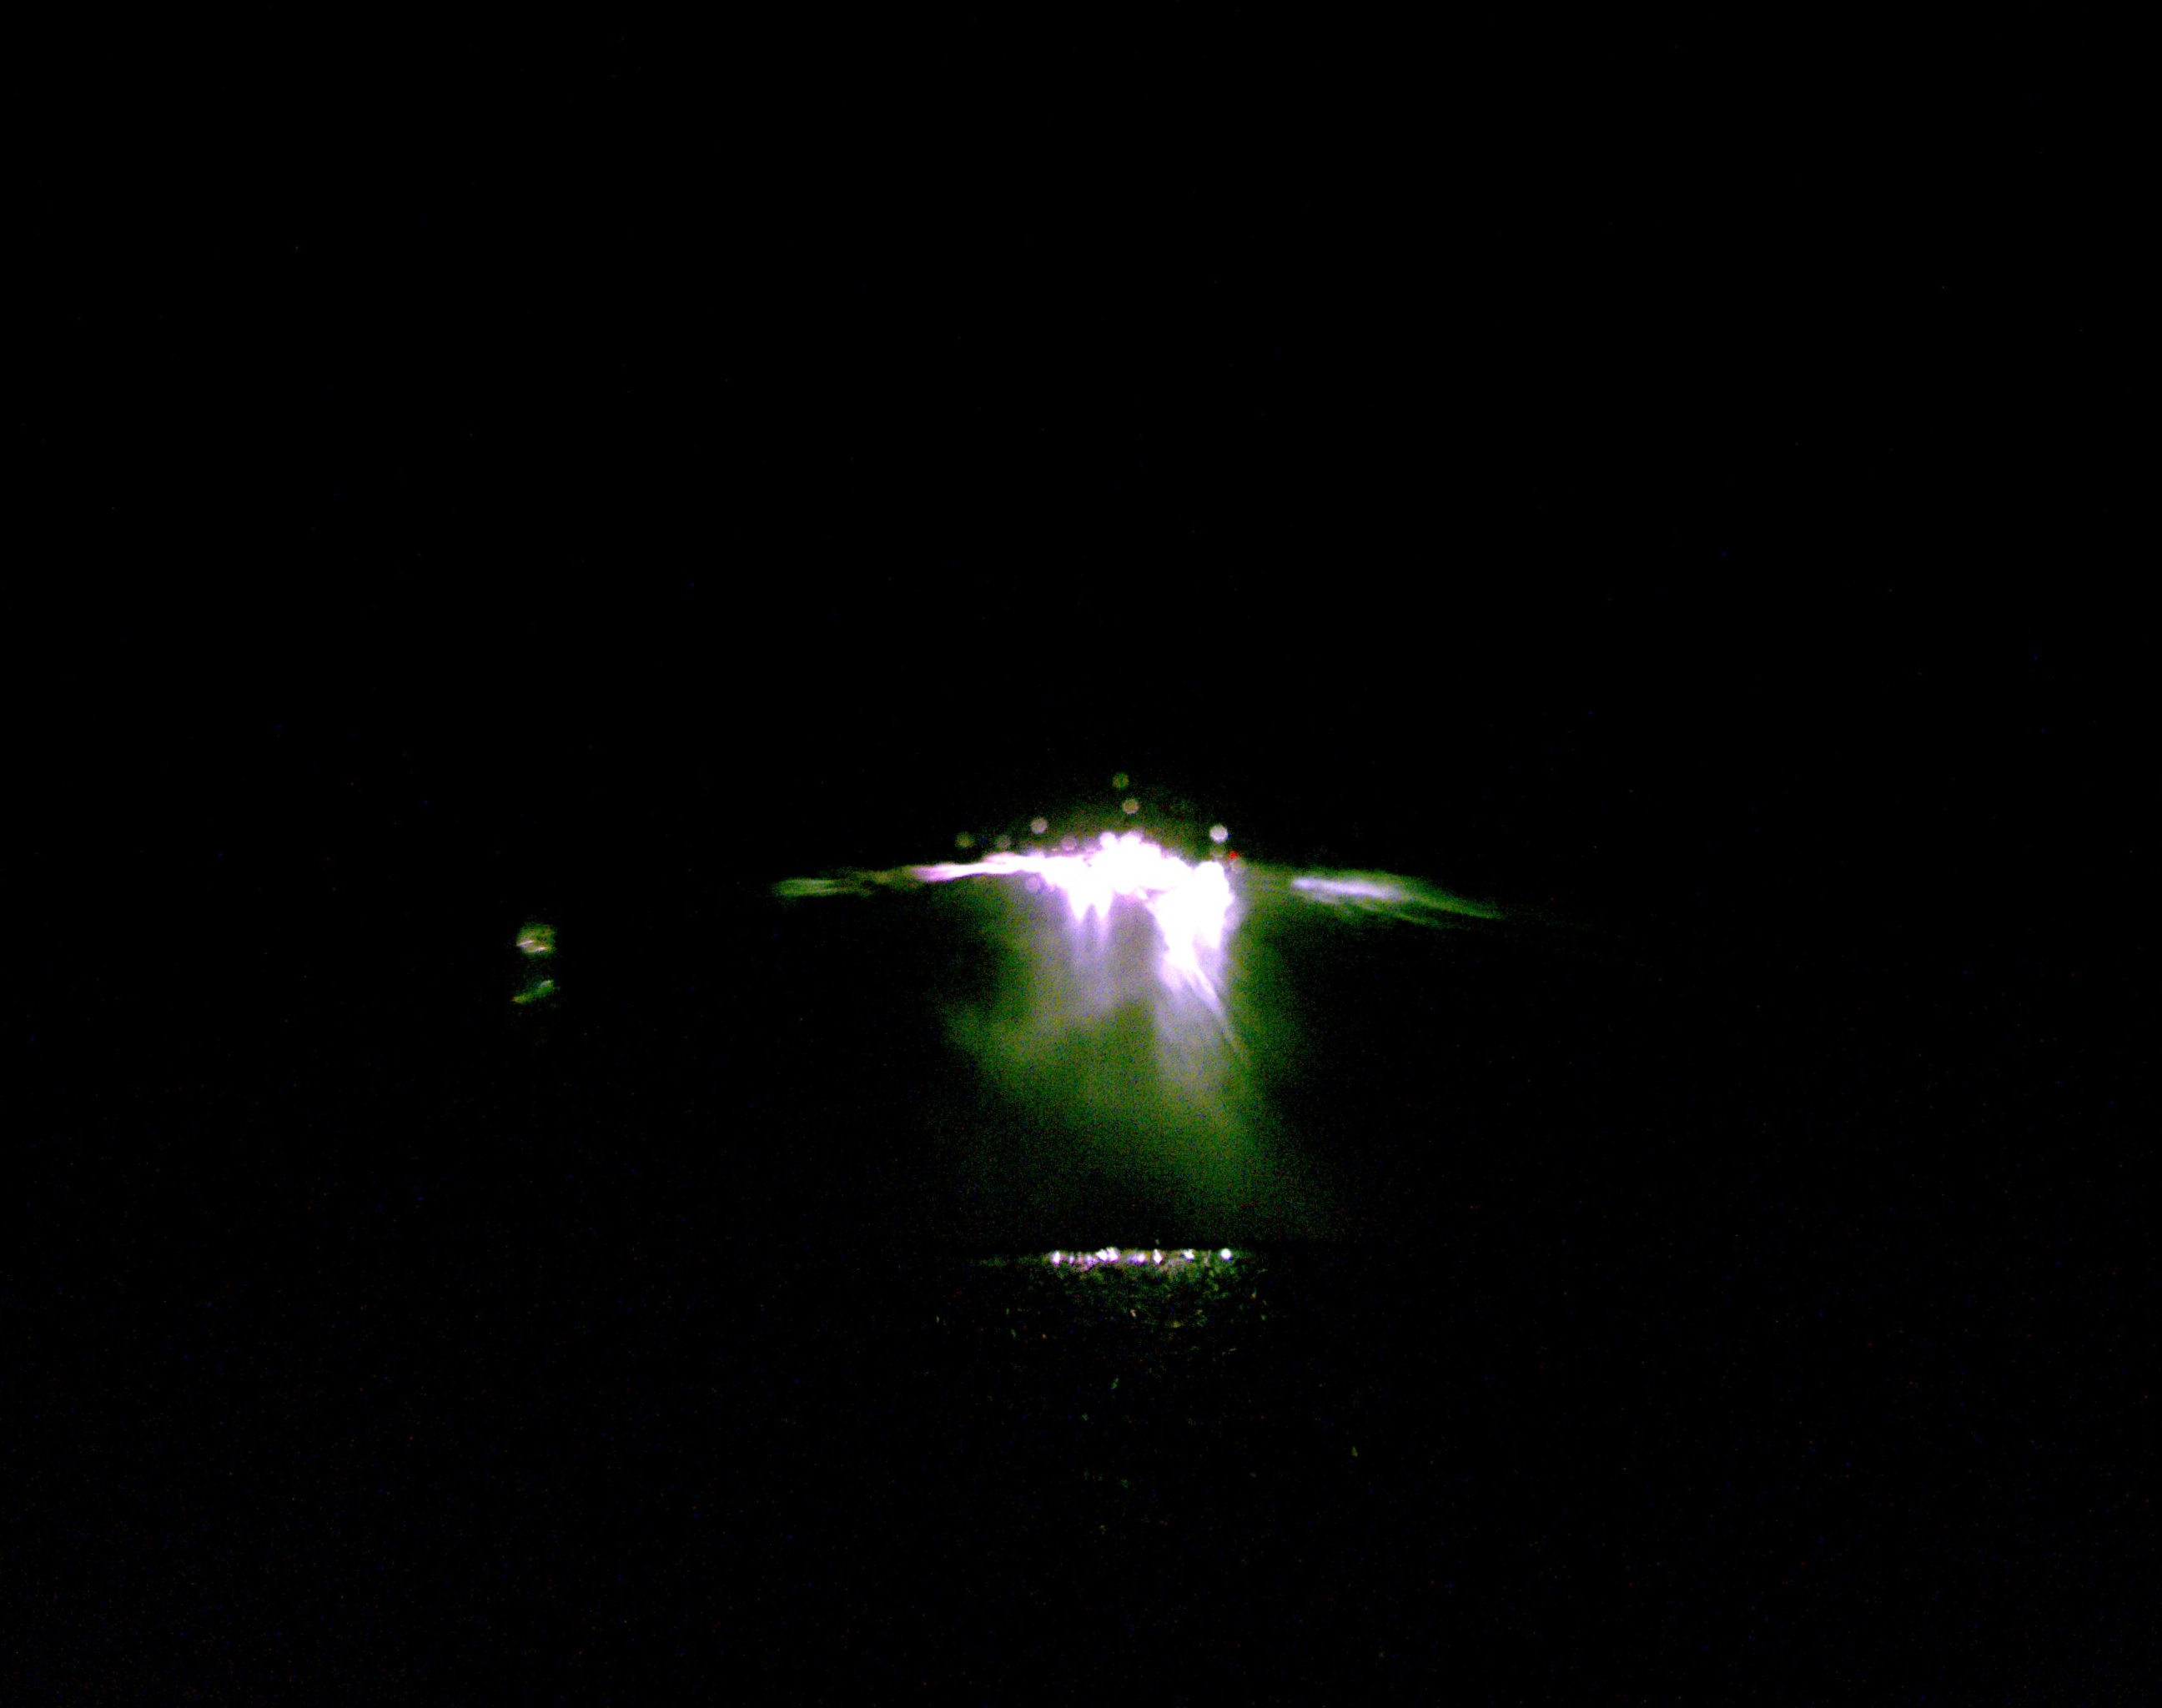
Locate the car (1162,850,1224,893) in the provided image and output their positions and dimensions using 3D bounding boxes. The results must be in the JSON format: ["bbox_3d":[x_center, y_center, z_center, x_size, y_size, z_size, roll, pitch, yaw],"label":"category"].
[{"bbox_3d":[4.480,0.670,31.018,2.309,1.600,3.872,1,1,6],"label":"car"}]

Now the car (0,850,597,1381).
[{"bbox_3d":[-4.656,0.924,3.009,1.957,1.782,5.124,-2,1,2],"label":"car"}]

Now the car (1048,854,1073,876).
[{"bbox_3d":[-1.975,1.003,73.577,1.998,2.002,4.001,1,1,4],"label":"car"}]

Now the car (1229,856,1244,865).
[{"bbox_3d":[29.174,1.213,142.810,1.998,1.477,4.000,-3,0,1],"label":"car"}]

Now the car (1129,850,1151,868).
[{"bbox_3d":[5.660,0.495,73.650,1.998,1.667,4.000,1,1,3],"label":"car"}]

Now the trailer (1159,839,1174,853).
[{"bbox_3d":[29.484,-2.753,262.561,4.177,4.597,13.958,1,1,2],"label":"trailer"}]

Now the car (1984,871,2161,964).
[{"bbox_3d":[19.878,1.146,13.886,1.998,1.477,4.000,-3,0,1],"label":"car"}]

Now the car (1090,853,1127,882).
[{"bbox_3d":[1.799,0.817,48.273,1.997,1.667,4.002,1,1,6],"label":"car"}]

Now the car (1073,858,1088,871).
[{"bbox_3d":[-0.027,1.578,113.342,1.998,1.745,4.000,-1,1,3],"label":"car"}]
